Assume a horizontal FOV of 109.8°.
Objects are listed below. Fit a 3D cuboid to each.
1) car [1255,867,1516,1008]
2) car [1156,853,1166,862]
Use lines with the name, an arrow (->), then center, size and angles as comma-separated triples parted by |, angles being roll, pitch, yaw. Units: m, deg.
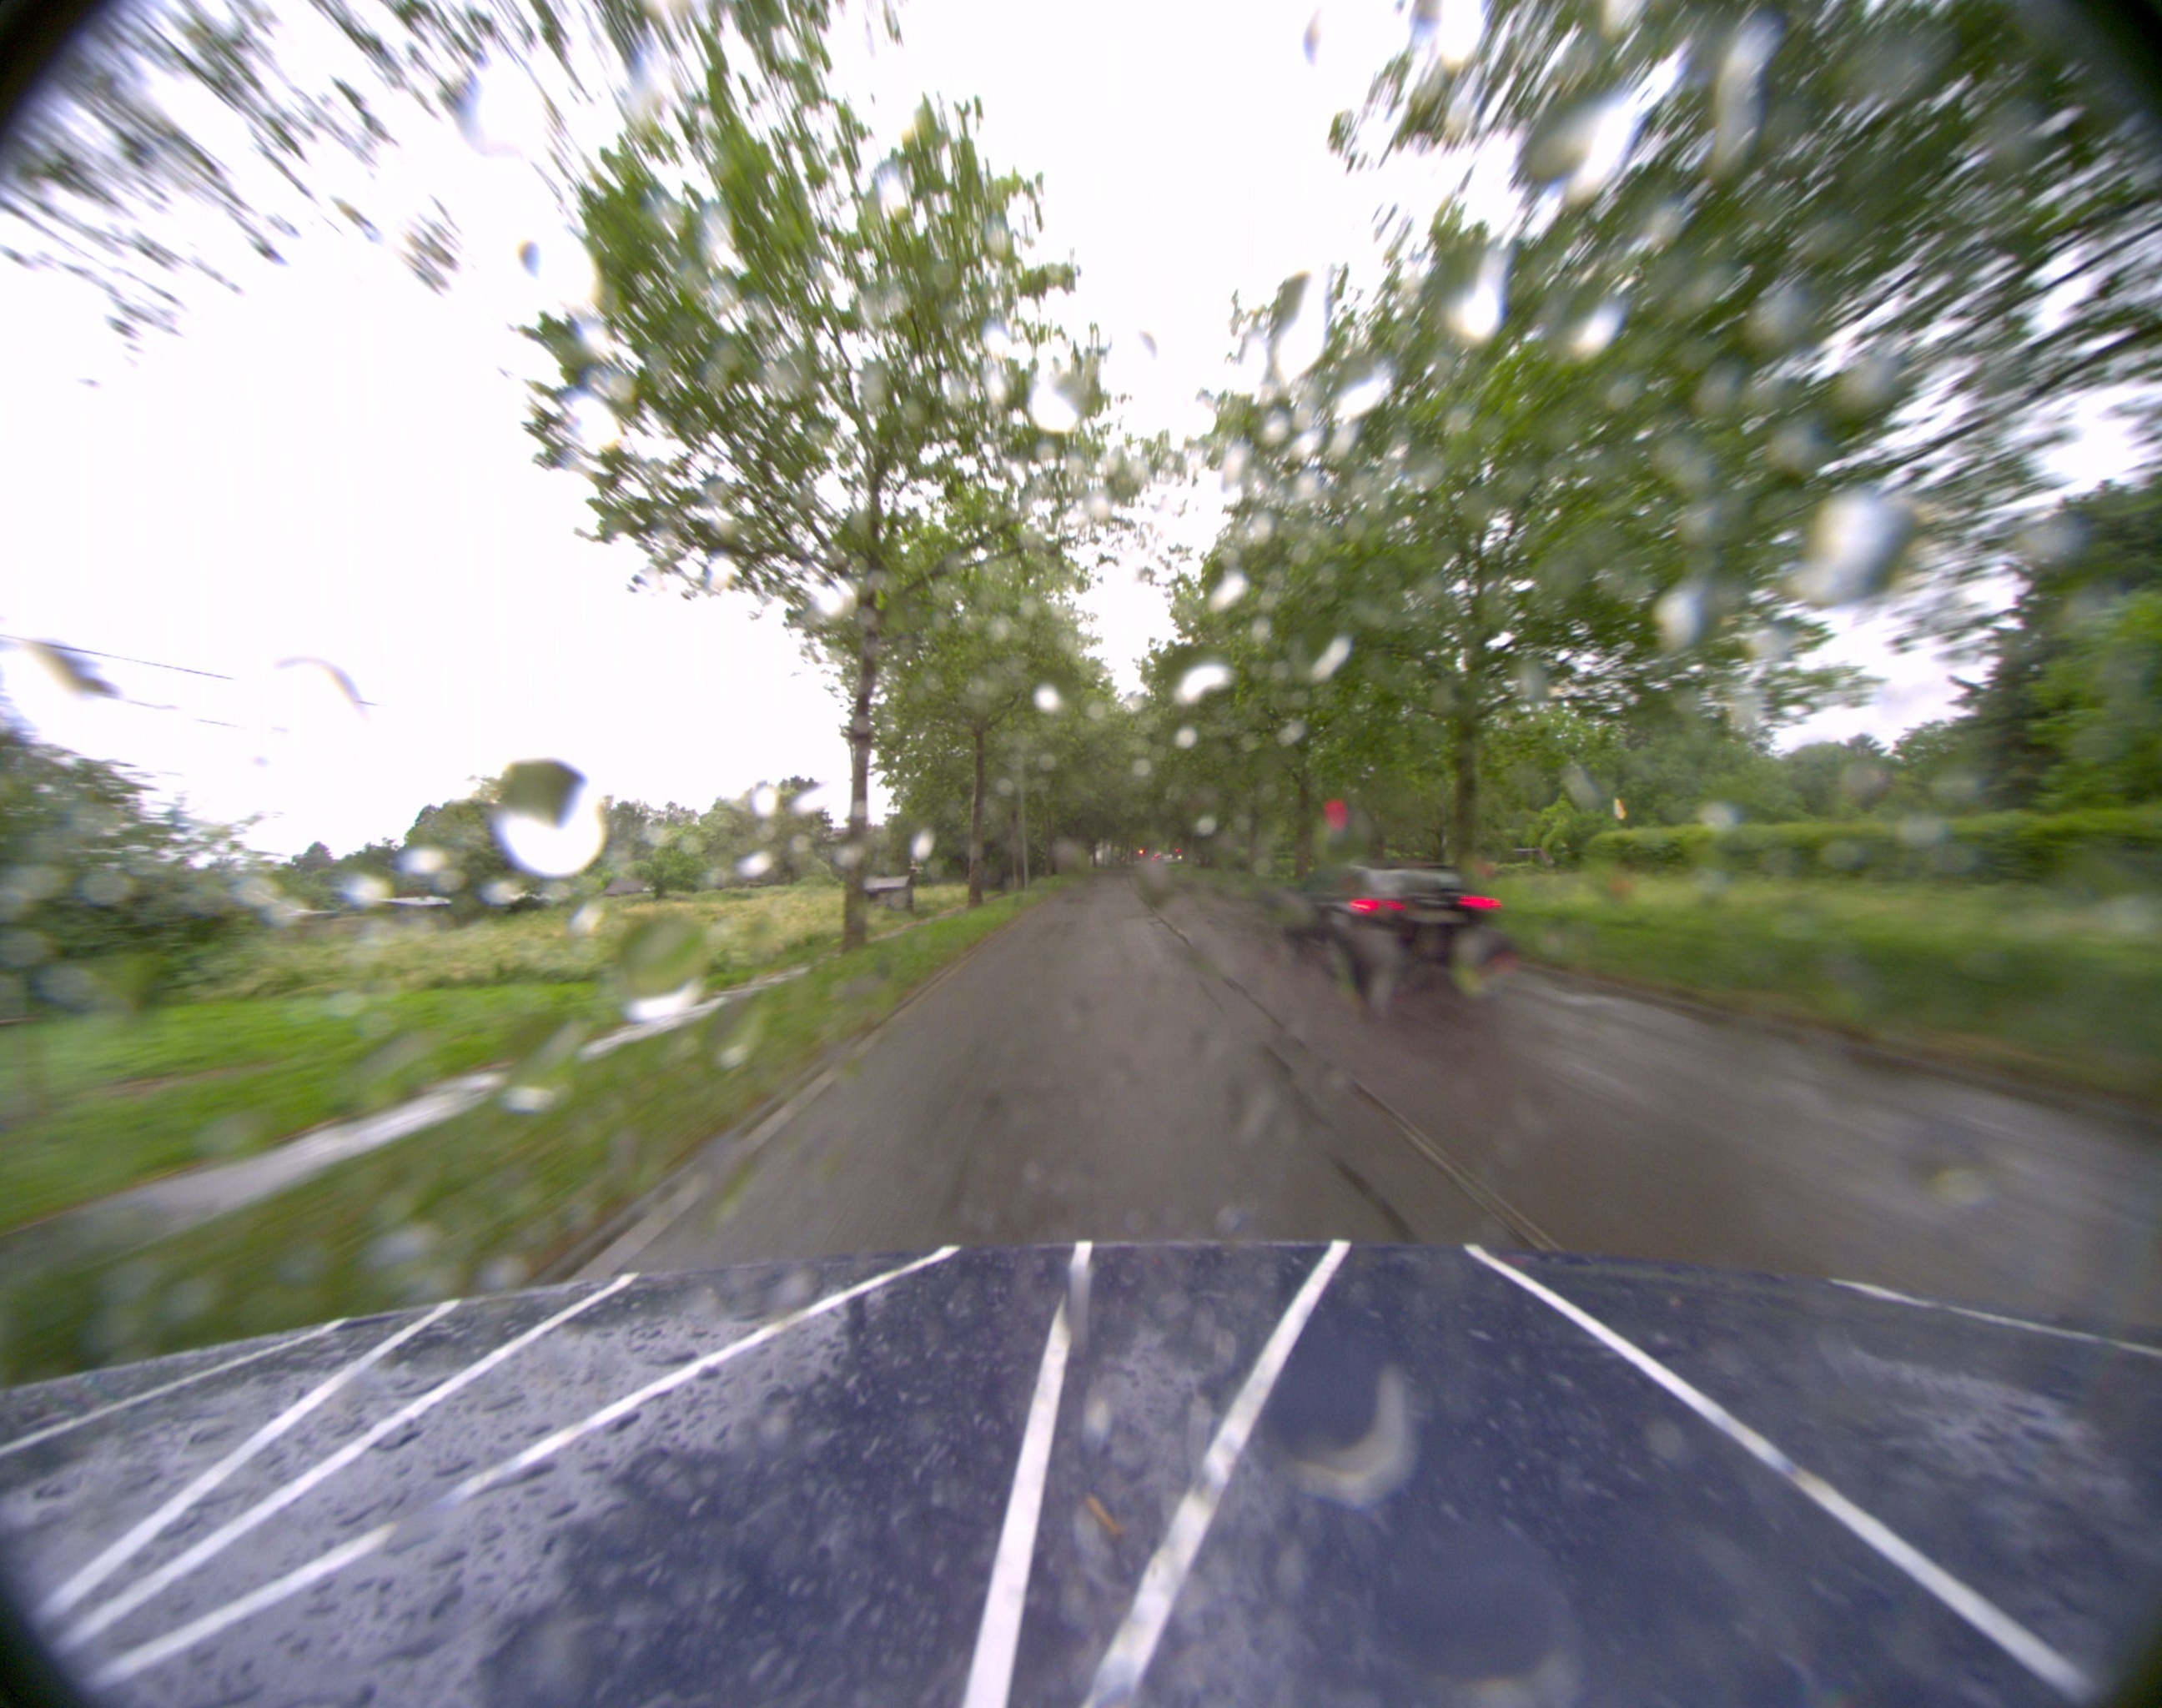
car -> 3.713, 0.920, 10.154 | 1.736, 1.415, 4.225 | -1, 0, -1
car -> 17.331, 0.769, 164.541 | 1.867, 1.739, 5.017 | -1, 0, 4
